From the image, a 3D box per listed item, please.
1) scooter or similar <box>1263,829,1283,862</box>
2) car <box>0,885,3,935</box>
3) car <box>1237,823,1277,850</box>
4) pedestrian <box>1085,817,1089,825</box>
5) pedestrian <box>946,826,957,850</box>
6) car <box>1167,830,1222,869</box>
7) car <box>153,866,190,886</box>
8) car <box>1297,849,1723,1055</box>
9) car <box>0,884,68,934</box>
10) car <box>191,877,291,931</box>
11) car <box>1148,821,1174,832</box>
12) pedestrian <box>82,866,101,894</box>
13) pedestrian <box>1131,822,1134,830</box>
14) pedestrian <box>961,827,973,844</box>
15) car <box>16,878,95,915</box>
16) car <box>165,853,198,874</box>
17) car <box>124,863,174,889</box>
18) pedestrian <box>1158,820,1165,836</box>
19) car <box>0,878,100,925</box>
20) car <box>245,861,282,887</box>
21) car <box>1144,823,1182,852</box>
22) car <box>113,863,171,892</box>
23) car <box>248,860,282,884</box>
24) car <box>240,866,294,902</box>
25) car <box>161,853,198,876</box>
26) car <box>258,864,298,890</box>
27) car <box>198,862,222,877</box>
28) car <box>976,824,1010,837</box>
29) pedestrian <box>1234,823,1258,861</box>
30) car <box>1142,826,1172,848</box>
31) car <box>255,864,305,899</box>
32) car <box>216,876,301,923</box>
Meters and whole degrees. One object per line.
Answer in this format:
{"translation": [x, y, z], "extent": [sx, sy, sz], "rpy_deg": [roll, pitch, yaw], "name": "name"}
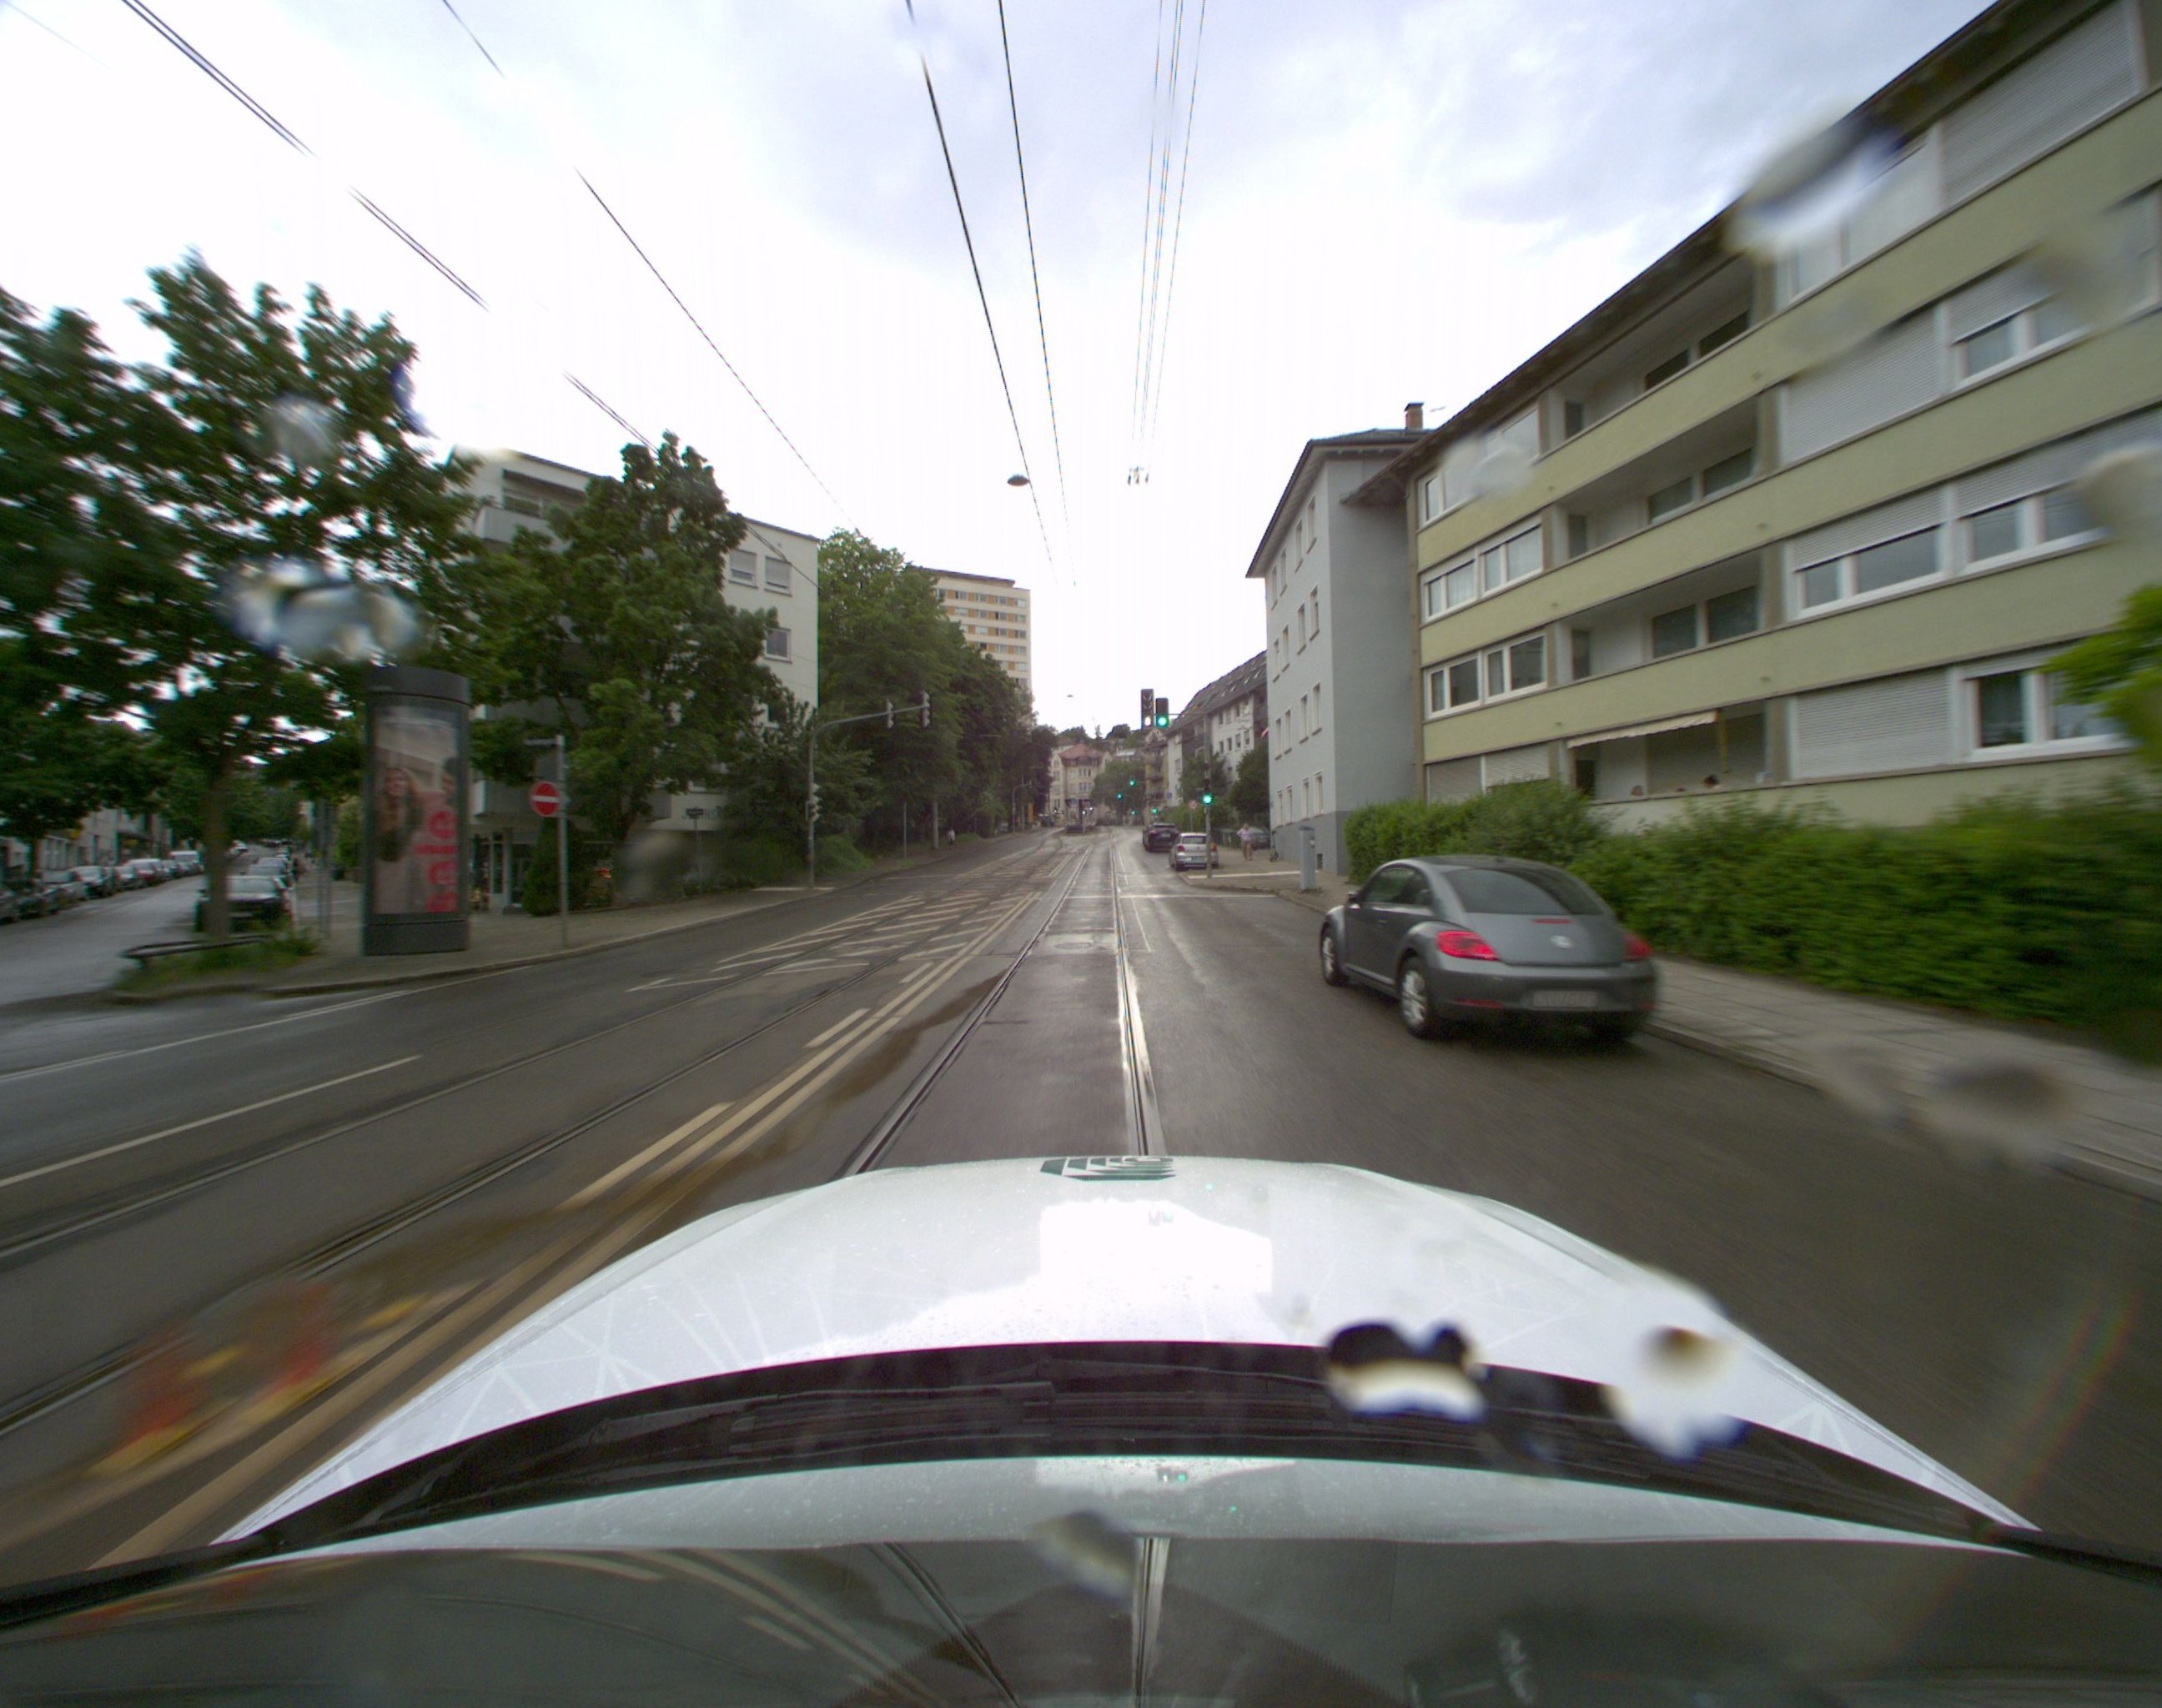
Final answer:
{"translation": [7.847, -0.360, 33.356], "extent": [0.571, 1.249, 1.614], "rpy_deg": [-3, 4, 7], "name": "scooter or similar"}
{"translation": [-31.705, 1.640, 22.410], "extent": [4.149, 1.494, 1.853], "rpy_deg": [-2, -2, 45], "name": "car"}
{"translation": [10.992, -1.067, 51.177], "extent": [1.714, 1.515, 4.204], "rpy_deg": [0, -2, 1], "name": "car"}
{"translation": [1.146, -6.067, 149.431], "extent": [0.654, 1.467, 0.773], "rpy_deg": [-2, -2, 4], "name": "pedestrian"}
{"translation": [-8.963, -1.113, 56.438], "extent": [0.581, 1.600, 0.869], "rpy_deg": [2, 1, -2], "name": "pedestrian"}
{"translation": [4.527, -0.224, 32.871], "extent": [1.699, 1.433, 4.103], "rpy_deg": [1, 2, 1], "name": "car"}
{"translation": [-77.927, 1.859, 69.802], "extent": [4.149, 1.642, 1.853], "rpy_deg": [-2, -2, 45], "name": "car"}
{"translation": [3.625, 0.715, 7.920], "extent": [1.934, 1.464, 4.205], "rpy_deg": [0, 0, 0], "name": "car"}
{"translation": [-35.579, 1.787, 26.895], "extent": [1.902, 1.530, 3.953], "rpy_deg": [2, -2, -40], "name": "car"}
{"translation": [-26.021, 1.489, 25.303], "extent": [3.950, 1.518, 2.011], "rpy_deg": [-2, -2, 45], "name": "car"}
{"translation": [12.349, -4.296, 125.670], "extent": [3.973, 1.645, 1.808], "rpy_deg": [0, 0, 1], "name": "car"}
{"translation": [-71.899, 1.854, 59.166], "extent": [0.732, 2.014, 0.744], "rpy_deg": [-2, -3, 45], "name": "pedestrian"}
{"translation": [9.626, -5.320, 152.168], "extent": [0.577, 1.467, 0.543], "rpy_deg": [0, -2, -6], "name": "pedestrian"}
{"translation": [-11.488, -1.877, 81.951], "extent": [0.907, 1.678, 0.745], "rpy_deg": [-1, -2, 29], "name": "pedestrian"}
{"translation": [-48.654, 1.965, 38.721], "extent": [4.149, 1.642, 1.853], "rpy_deg": [-2, -2, 45], "name": "car"}
{"translation": [-90.468, 0.955, 81.931], "extent": [3.950, 2.014, 2.011], "rpy_deg": [-2, -3, 45], "name": "car"}
{"translation": [-60.958, 1.412, 53.316], "extent": [4.149, 1.642, 1.853], "rpy_deg": [-2, -2, 45], "name": "car"}
{"translation": [8.209, -2.680, 82.835], "extent": [0.640, 1.628, 0.701], "rpy_deg": [0, 0, 10], "name": "pedestrian"}
{"translation": [-39.289, 1.761, 31.140], "extent": [4.149, 1.642, 1.853], "rpy_deg": [-2, -2, 45], "name": "car"}
{"translation": [-66.424, 1.620, 66.163], "extent": [3.950, 2.014, 2.011], "rpy_deg": [-2, -3, 45], "name": "car"}
{"translation": [4.889, -1.037, 48.963], "extent": [1.899, 1.641, 4.691], "rpy_deg": [1, 2, 1], "name": "car"}
{"translation": [-57.054, 1.436, 49.531], "extent": [3.950, 1.721, 2.011], "rpy_deg": [-2, -2, 45], "name": "car"}
{"translation": [-72.651, 1.619, 72.501], "extent": [3.950, 2.014, 2.011], "rpy_deg": [-2, -3, 45], "name": "car"}
{"translation": [-44.947, 1.634, 44.990], "extent": [3.950, 1.860, 2.011], "rpy_deg": [-2, -3, 45], "name": "car"}
{"translation": [-82.905, 0.994, 74.935], "extent": [3.950, 2.014, 2.011], "rpy_deg": [-2, -3, 45], "name": "car"}
{"translation": [-59.087, 1.711, 59.888], "extent": [3.950, 1.816, 2.011], "rpy_deg": [-2, -3, 45], "name": "car"}
{"translation": [-119.330, 2.141, 111.589], "extent": [3.950, 2.014, 2.011], "rpy_deg": [-2, -3, 45], "name": "car"}
{"translation": [-11.354, -3.022, 105.234], "extent": [3.951, 1.406, 1.692], "rpy_deg": [-1, -2, 24], "name": "car"}
{"translation": [7.158, -0.513, 35.368], "extent": [0.878, 1.583, 0.802], "rpy_deg": [-2, 3, 3], "name": "pedestrian"}
{"translation": [5.086, -1.149, 55.048], "extent": [1.699, 1.427, 4.252], "rpy_deg": [1, 2, 1], "name": "car"}
{"translation": [-48.331, 1.673, 49.113], "extent": [3.950, 2.014, 2.011], "rpy_deg": [-2, -3, 45], "name": "car"}
{"translation": [-29.945, 1.590, 29.688], "extent": [4.615, 1.596, 2.011], "rpy_deg": [-2, -2, 45], "name": "car"}
